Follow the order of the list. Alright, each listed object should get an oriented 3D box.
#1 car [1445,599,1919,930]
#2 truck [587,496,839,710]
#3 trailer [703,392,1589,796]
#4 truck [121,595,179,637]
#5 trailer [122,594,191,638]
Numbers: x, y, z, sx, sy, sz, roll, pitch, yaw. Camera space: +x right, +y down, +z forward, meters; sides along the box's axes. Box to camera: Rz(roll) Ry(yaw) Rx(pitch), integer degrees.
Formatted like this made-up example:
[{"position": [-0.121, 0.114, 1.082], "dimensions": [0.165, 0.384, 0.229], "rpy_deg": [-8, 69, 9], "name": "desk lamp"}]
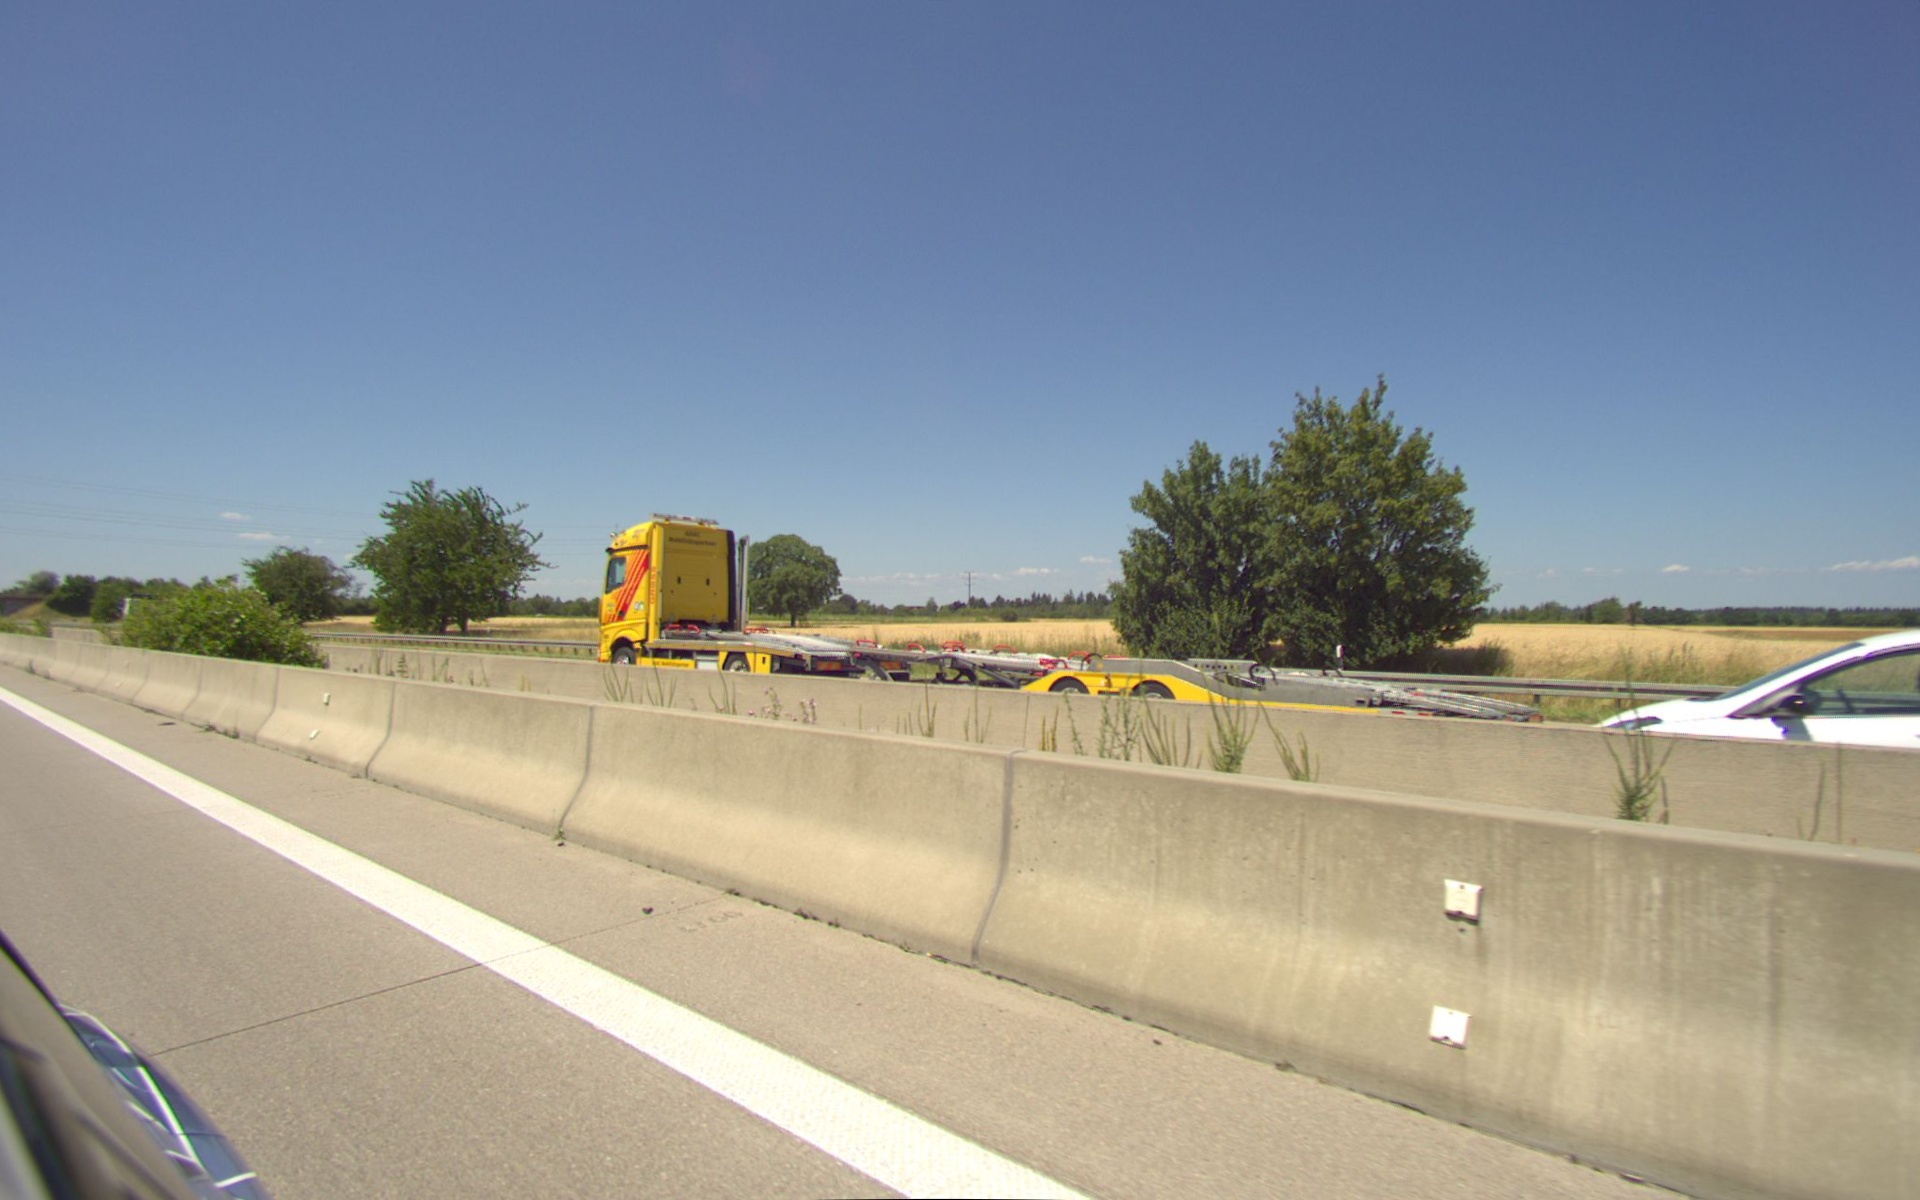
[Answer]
[{"position": [5.767, 0.928, 6.275], "dimensions": [4.711, 1.817, 1.688], "rpy_deg": [-1, -2, 41], "name": "car"}, {"position": [-5.563, 0.077, 22.344], "dimensions": [5.539, 4.111, 2.715], "rpy_deg": [-1, 0, 42], "name": "truck"}, {"position": [1.263, 0.011, 16.140], "dimensions": [14.609, 4.070, 2.747], "rpy_deg": [-1, 0, 42], "name": "trailer"}, {"position": [-67.058, 1.342, 83.735], "dimensions": [5.612, 3.329, 2.777], "rpy_deg": [-1, 0, 42], "name": "truck"}, {"position": [-65.324, 1.307, 82.177], "dimensions": [9.459, 3.329, 2.798], "rpy_deg": [-1, 0, 42], "name": "trailer"}]
